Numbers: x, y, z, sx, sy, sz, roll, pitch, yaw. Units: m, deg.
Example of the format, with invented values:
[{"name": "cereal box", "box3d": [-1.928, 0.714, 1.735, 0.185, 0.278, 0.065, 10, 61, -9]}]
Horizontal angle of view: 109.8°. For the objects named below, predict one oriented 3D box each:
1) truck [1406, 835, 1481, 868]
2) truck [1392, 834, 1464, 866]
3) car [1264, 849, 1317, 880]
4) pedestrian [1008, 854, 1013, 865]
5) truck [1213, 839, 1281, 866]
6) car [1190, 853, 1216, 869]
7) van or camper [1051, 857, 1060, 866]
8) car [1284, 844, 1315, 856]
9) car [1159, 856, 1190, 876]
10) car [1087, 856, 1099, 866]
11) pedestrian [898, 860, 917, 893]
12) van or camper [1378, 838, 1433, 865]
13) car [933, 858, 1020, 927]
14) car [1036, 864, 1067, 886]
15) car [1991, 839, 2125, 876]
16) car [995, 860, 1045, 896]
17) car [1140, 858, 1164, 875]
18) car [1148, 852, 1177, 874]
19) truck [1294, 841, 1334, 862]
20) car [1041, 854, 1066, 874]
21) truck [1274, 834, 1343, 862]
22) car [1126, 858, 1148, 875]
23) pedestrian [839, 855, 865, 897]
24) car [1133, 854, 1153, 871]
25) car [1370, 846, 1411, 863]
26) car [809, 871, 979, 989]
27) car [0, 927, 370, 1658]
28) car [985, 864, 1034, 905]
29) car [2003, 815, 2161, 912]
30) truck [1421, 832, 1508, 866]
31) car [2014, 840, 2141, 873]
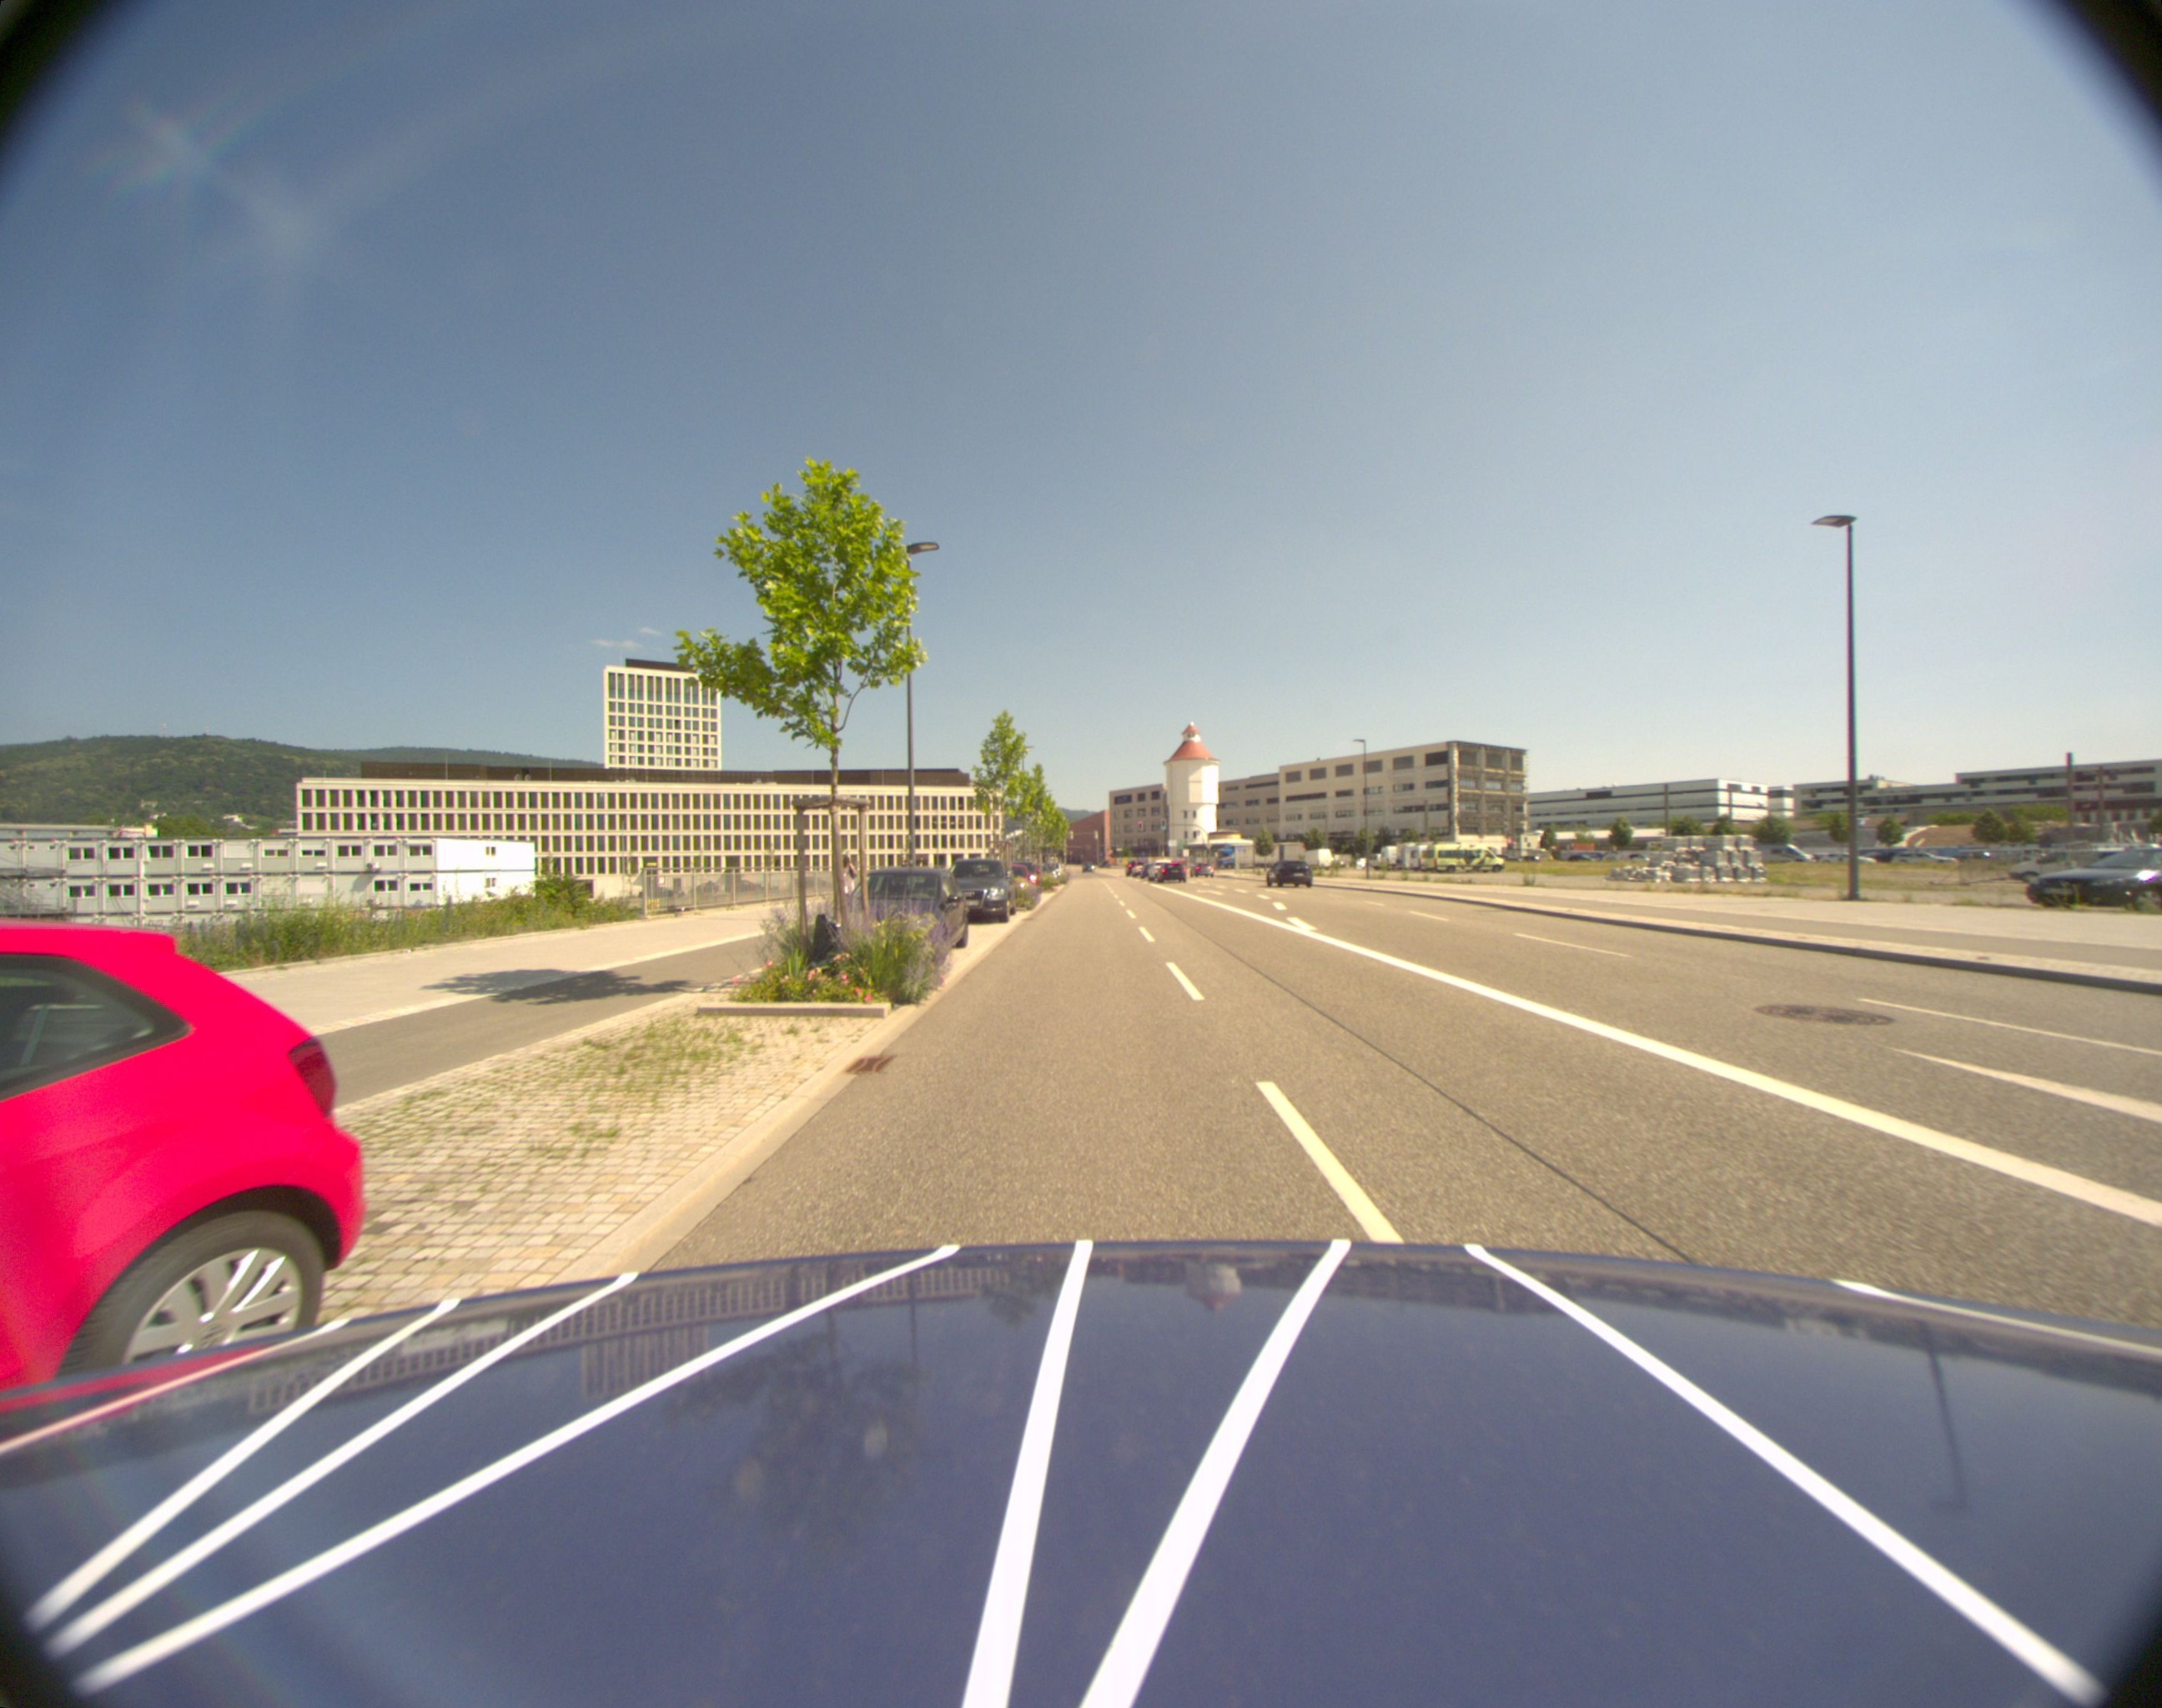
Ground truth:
[{"name": "truck", "box3d": [34.783, -0.247, 72.972, 5.850, 2.808, 2.570, -3, 1, 0]}, {"name": "truck", "box3d": [35.519, -0.423, 77.878, 6.160, 2.885, 2.570, -3, 1, 2]}, {"name": "car", "box3d": [11.562, 0.577, 42.197, 1.907, 1.618, 4.388, -1, 0, 3]}, {"name": "pedestrian", "box3d": [-11.904, 0.952, 128.525, 0.827, 1.773, 0.926, -1, 1, -8]}, {"name": "truck", "box3d": [28.034, -0.255, 128.230, 10.987, 4.044, 3.297, -3, 2, -17]}, {"name": "car", "box3d": [12.230, 0.671, 76.326, 1.907, 1.487, 4.387, -1, 0, 0]}, {"name": "van or camper", "box3d": [-7.251, 2.108, 215.101, 2.159, 2.400, 5.677, 0, 1, -6]}, {"name": "car", "box3d": [32.415, -0.611, 112.860, 4.001, 1.630, 1.879, -1, 0, -12]}, {"name": "car", "box3d": [6.578, 0.820, 53.779, 1.791, 1.390, 4.572, 0, 0, 2]}, {"name": "car", "box3d": [1.754, 1.041, 113.982, 1.783, 1.552, 3.831, -1, 0, 0]}, {"name": "pedestrian", "box3d": [-9.351, 1.195, 40.974, 0.733, 1.695, 0.651, -3, 2, 1]}, {"name": "van or camper", "box3d": [35.047, -0.258, 82.134, 4.912, 2.646, 2.260, -2, 0, 1]}, {"name": "car", "box3d": [-2.638, 0.926, 20.066, 1.739, 1.599, 4.240, 0, 0, 0]}, {"name": "car", "box3d": [-2.046, 1.465, 54.118, 1.913, 1.470, 4.159, 0, -1, 2]}, {"name": "car", "box3d": [56.953, 0.196, 44.387, 2.003, 2.002, 4.642, -1, 0, -32]}, {"name": "car", "box3d": [-2.917, 1.146, 37.336, 1.913, 1.607, 4.549, -1, -1, 2]}, {"name": "car", "box3d": [6.530, 1.218, 70.447, 1.790, 1.412, 4.283, -3, -2, 1]}, {"name": "car", "box3d": [6.473, 0.690, 60.660, 1.918, 1.640, 4.731, -1, 0, 1]}, {"name": "truck", "box3d": [30.062, -0.336, 98.243, 2.174, 2.639, 5.938, -1, 0, -14]}, {"name": "car", "box3d": [-2.246, 0.802, 63.261, 1.877, 1.618, 4.876, -1, 0, 0]}, {"name": "truck", "box3d": [39.218, -1.117, 130.886, 10.951, 4.251, 3.341, -3, 2, -11]}, {"name": "car", "box3d": [6.296, 1.402, 86.385, 1.944, 1.778, 4.655, -3, 0, -2]}, {"name": "pedestrian", "box3d": [-9.276, 0.884, 30.770, 0.782, 1.695, 0.742, -1, 1, 1]}, {"name": "car", "box3d": [6.346, 0.848, 78.048, 1.783, 1.672, 4.099, 0, -1, 0]}, {"name": "car", "box3d": [34.801, 0.023, 85.510, 3.876, 1.748, 1.657, -2, 0, -3]}, {"name": "car", "box3d": [-2.737, 1.047, 12.082, 1.637, 1.420, 4.241, -2, 0, 0]}, {"name": "car", "box3d": [-3.129, 0.953, 0.378, 1.722, 1.442, 4.001, -3, -1, 1]}, {"name": "car", "box3d": [-2.721, 1.137, 29.646, 1.608, 1.483, 3.818, 0, 0, -1]}, {"name": "car", "box3d": [22.207, 0.174, 15.596, 3.994, 1.892, 1.828, -1, 0, 8]}, {"name": "truck", "box3d": [35.162, -0.441, 69.780, 6.654, 2.809, 2.602, -2, 0, -2]}, {"name": "car", "box3d": [62.089, 0.179, 47.451, 2.003, 1.958, 4.642, -1, 0, -32]}]
